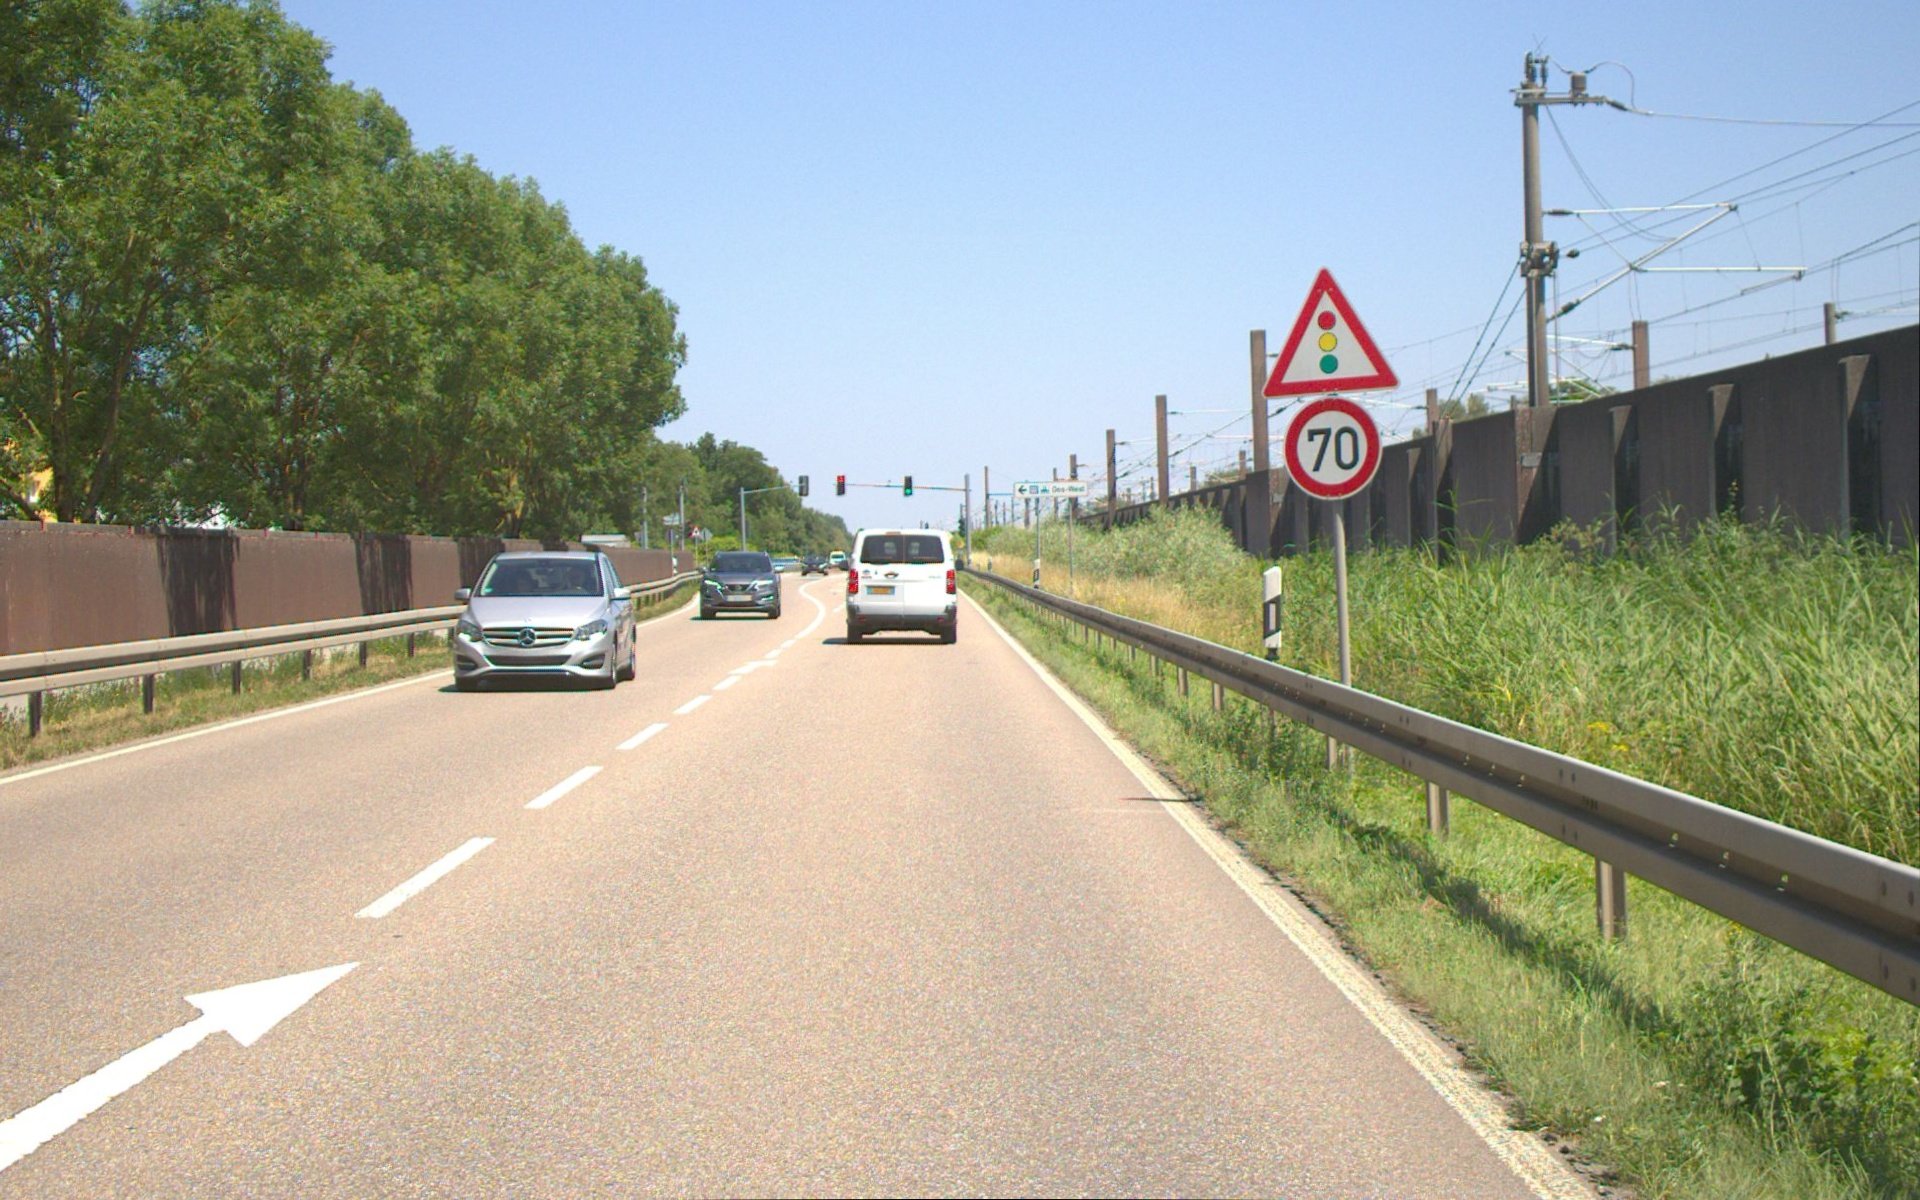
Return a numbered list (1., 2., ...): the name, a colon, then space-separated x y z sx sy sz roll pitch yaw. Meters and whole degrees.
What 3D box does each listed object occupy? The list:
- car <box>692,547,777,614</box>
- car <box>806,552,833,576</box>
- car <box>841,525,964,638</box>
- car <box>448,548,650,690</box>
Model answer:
1. car: -5.265 -0.473 80.753 1.789 1.520 4.390 0 1 -1
2. car: -9.780 -2.524 239.608 1.819 1.590 4.000 1 1 -2
3. car: -0.969 -0.344 58.707 1.993 1.843 4.000 1 1 -1
4. car: -4.630 0.175 39.266 1.789 1.520 4.390 0 1 0
